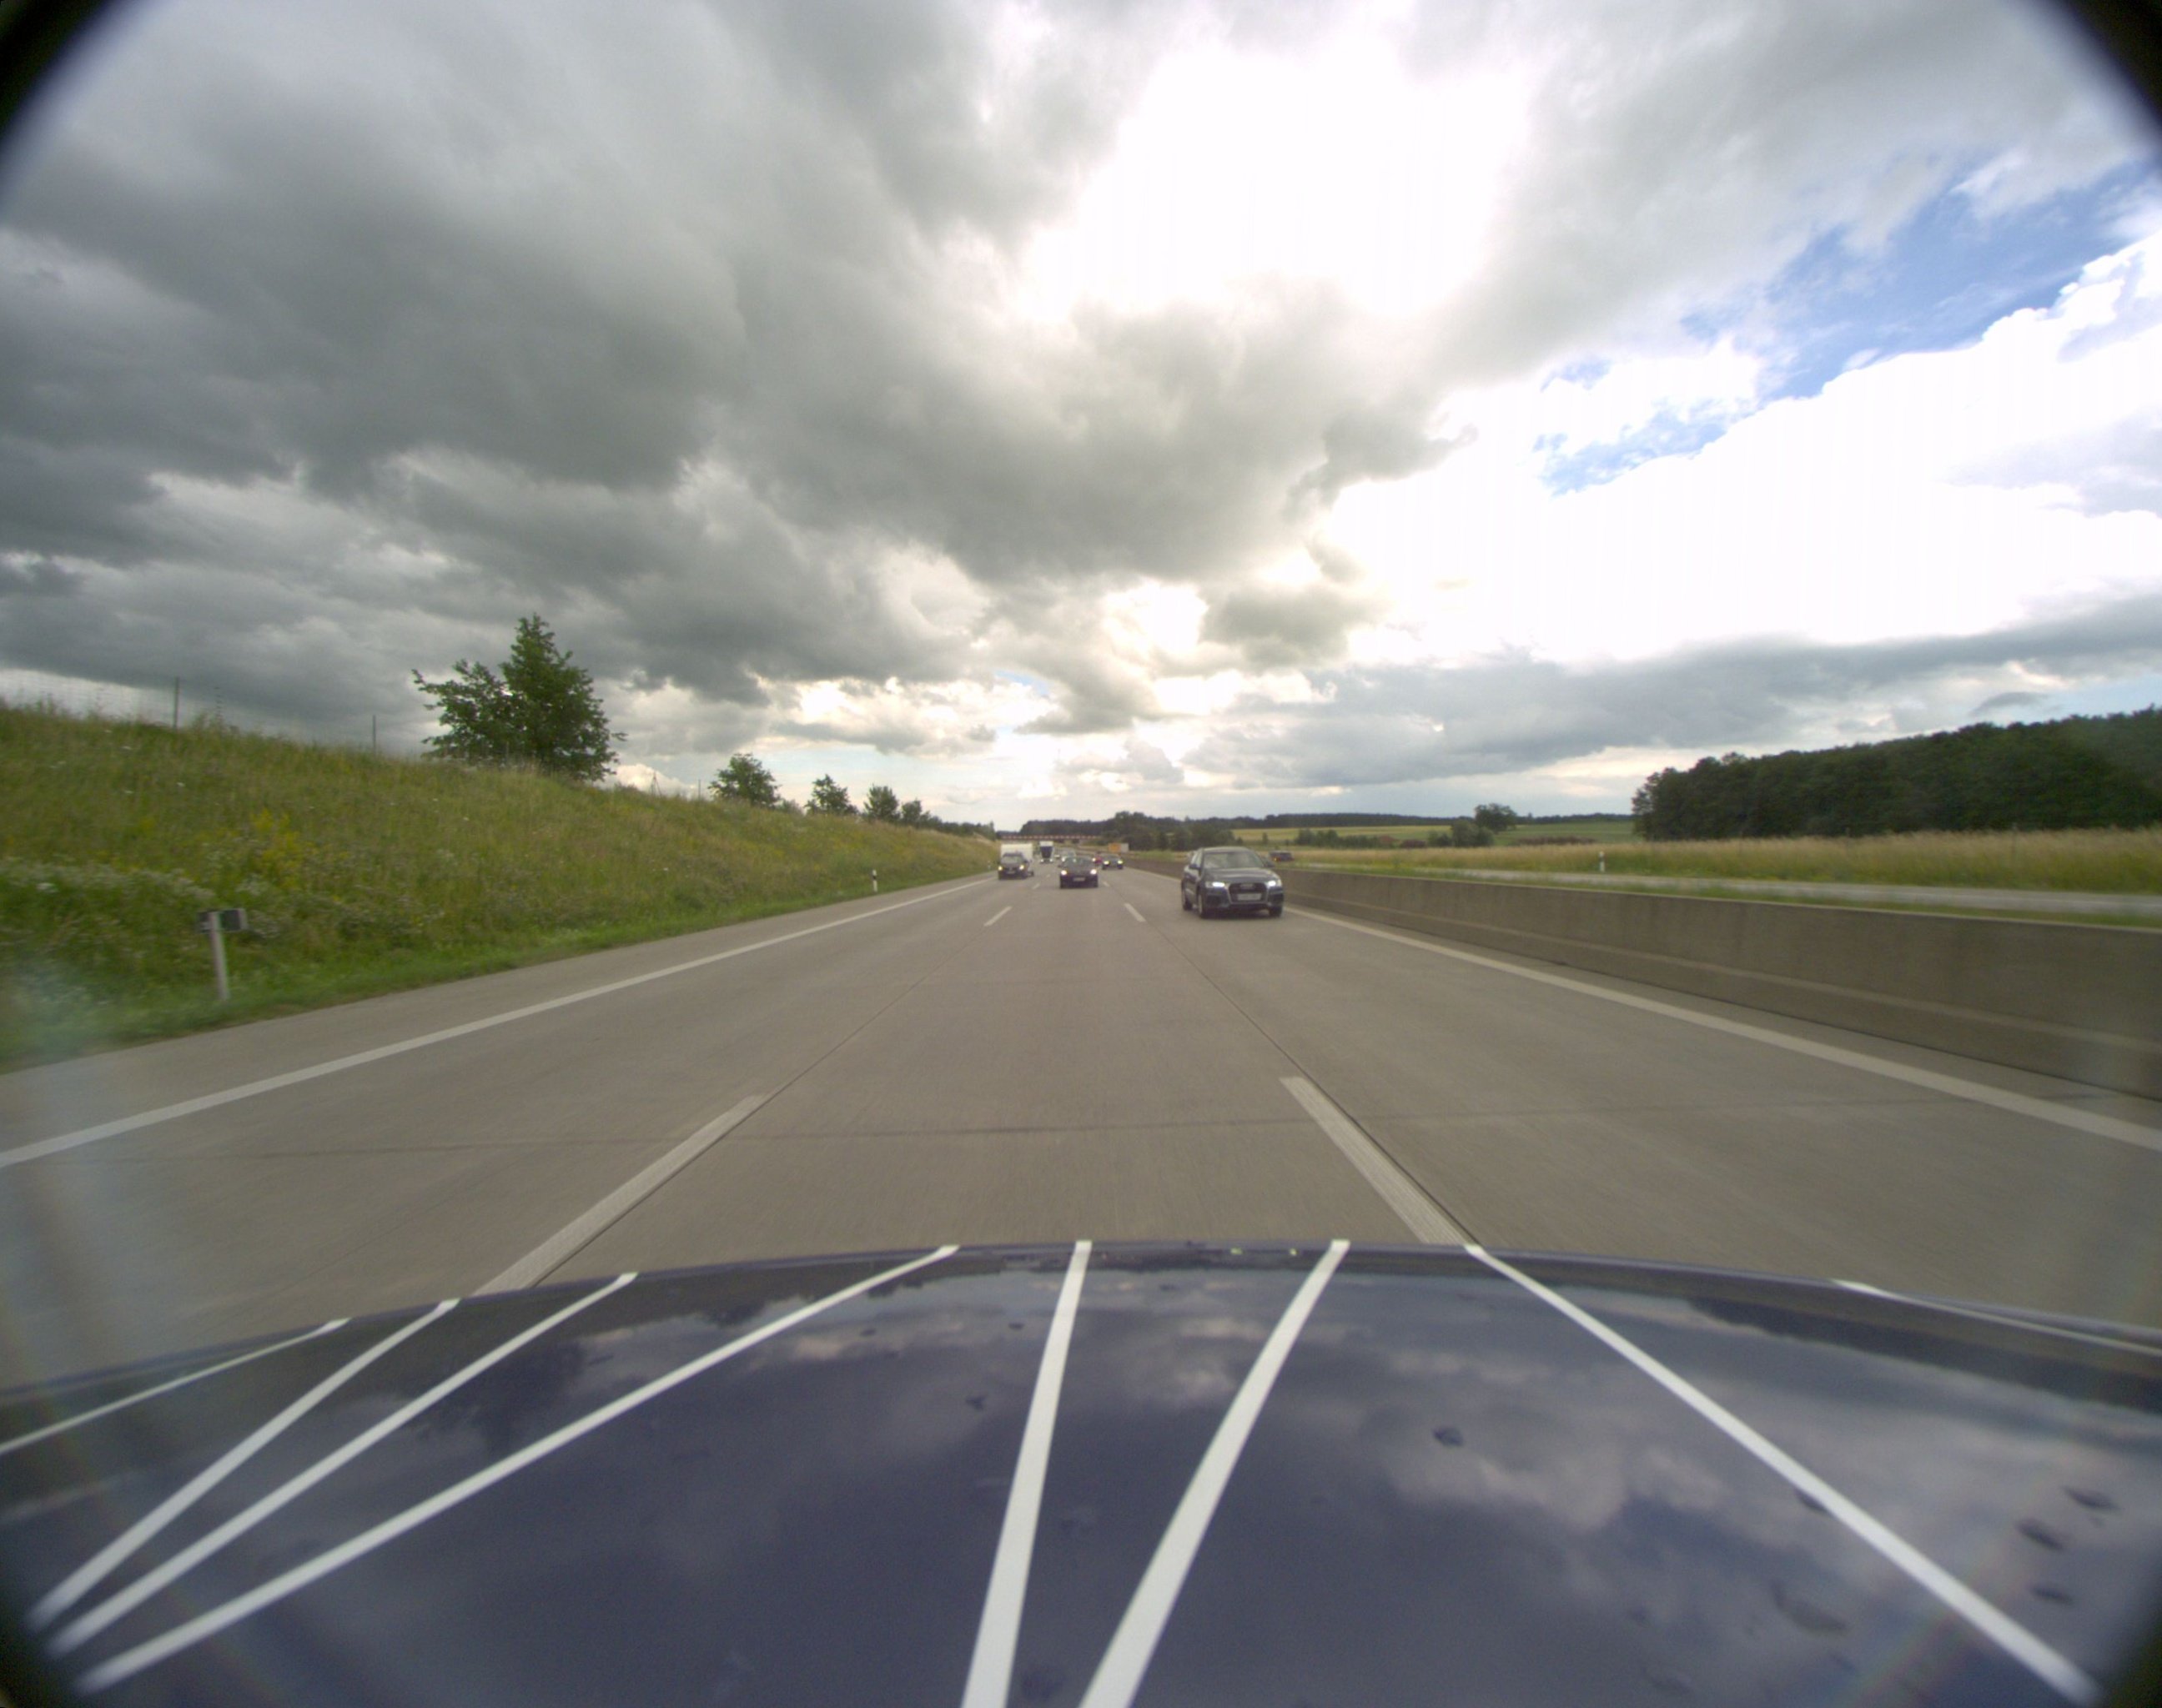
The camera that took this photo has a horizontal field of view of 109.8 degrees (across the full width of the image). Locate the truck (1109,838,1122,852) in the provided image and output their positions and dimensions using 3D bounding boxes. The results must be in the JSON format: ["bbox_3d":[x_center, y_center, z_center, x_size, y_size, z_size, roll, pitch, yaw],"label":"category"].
[{"bbox_3d":[9.979,-2.549,219.344,2.824,4.015,10.566,-1,0,-1],"label":"truck"}]

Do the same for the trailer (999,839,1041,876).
[{"bbox_3d":[-4.500,0.212,57.166,2.615,2.520,6.719,-2,1,-1],"label":"trailer"}]

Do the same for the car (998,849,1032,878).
[{"bbox_3d":[-4.400,0.599,51.292,1.944,1.799,5.030,-2,1,-1],"label":"car"}]

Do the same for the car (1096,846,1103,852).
[{"bbox_3d":[5.917,-1.556,242.326,1.817,1.951,5.338,-2,1,-2],"label":"car"}]

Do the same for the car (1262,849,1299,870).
[{"bbox_3d":[14.654,0.376,56.086,1.666,1.390,4.000,-2,0,0],"label":"car"}]

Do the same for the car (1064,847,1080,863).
[{"bbox_3d":[-1.187,0.106,101.844,1.999,2.002,3.999,-2,0,-2],"label":"car"}]

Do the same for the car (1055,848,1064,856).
[{"bbox_3d":[-5.422,-0.552,194.136,1.999,2.002,3.999,-2,1,0],"label":"car"}]

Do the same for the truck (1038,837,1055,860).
[{"bbox_3d":[-6.517,-0.976,144.836,2.855,4.176,10.706,-2,0,-2],"label":"truck"}]

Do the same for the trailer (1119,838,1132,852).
[{"bbox_3d":[13.604,-2.707,233.852,2.847,4.014,13.904,-1,0,-1],"label":"trailer"}]

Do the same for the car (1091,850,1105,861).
[{"bbox_3d":[2.357,0.209,104.545,1.821,1.364,3.783,-3,1,3],"label":"car"}]

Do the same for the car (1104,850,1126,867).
[{"bbox_3d":[3.195,0.370,70.792,1.939,1.464,4.001,-2,0,3],"label":"car"}]

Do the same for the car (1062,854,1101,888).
[{"bbox_3d":[-0.021,0.738,35.601,1.691,1.405,3.999,-2,1,-1],"label":"car"}]

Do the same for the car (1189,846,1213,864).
[{"bbox_3d":[11.465,0.074,72.772,1.693,1.601,4.000,-2,0,0],"label":"car"}]

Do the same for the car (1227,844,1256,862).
[{"bbox_3d":[15.620,-0.100,74.176,1.998,1.674,4.062,-2,0,0],"label":"car"}]

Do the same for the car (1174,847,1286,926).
[{"bbox_3d":[3.440,0.667,18.516,1.797,1.587,5.157,-2,1,2],"label":"car"}]
